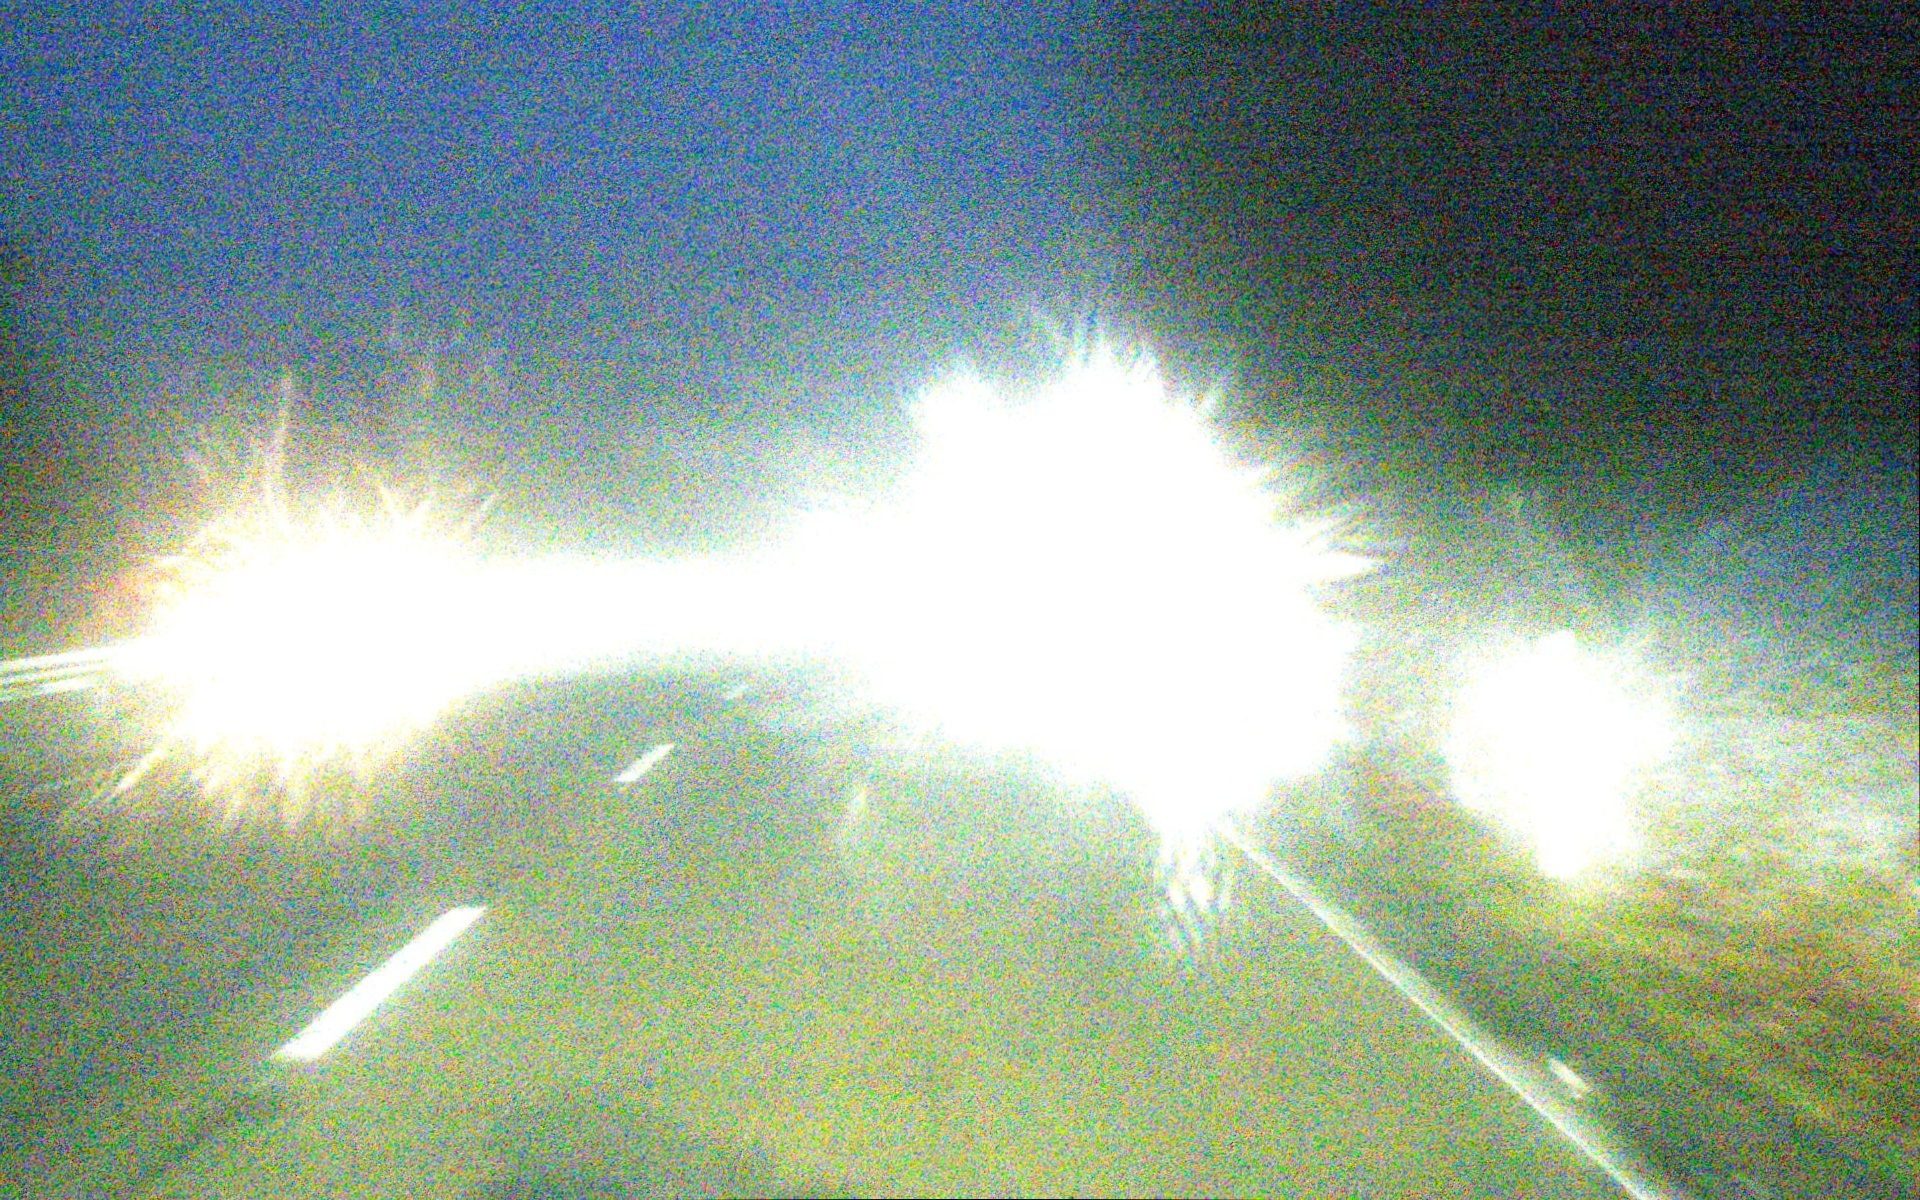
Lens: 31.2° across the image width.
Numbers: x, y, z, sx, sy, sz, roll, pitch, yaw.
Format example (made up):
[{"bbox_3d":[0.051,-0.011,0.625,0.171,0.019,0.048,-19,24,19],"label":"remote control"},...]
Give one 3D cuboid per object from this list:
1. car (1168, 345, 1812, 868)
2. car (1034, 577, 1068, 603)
[{"bbox_3d":[2.195,0.088,15.490,2.197,2.007,4.207,1,-2,0],"label":"car"},{"bbox_3d":[5.028,-0.547,188.994,1.740,1.397,3.860,0,0,3],"label":"car"}]
